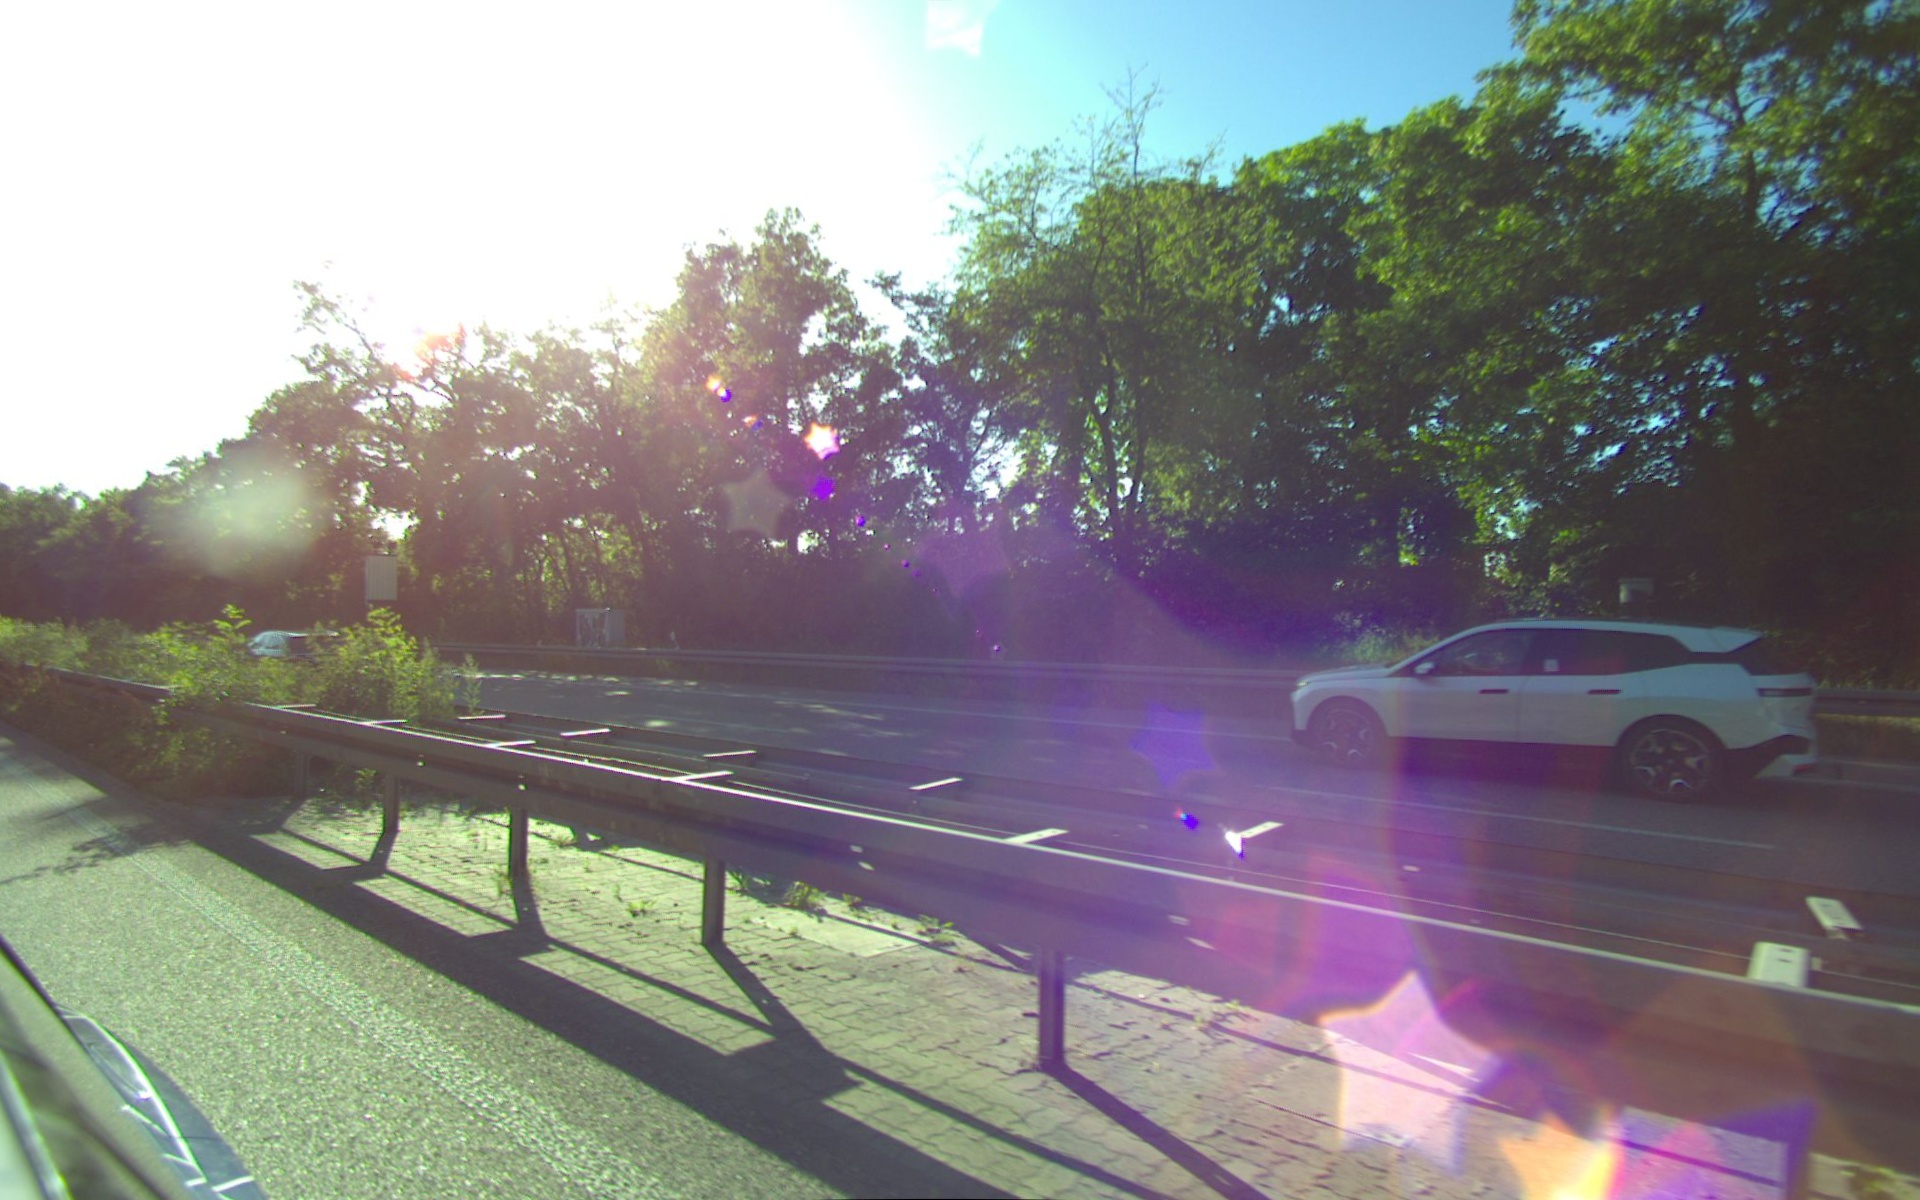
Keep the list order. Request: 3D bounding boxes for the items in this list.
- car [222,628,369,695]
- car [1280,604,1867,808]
[{"bbox_3d":[-16.656,1.471,25.271,4.782,1.500,1.832,-1,-2,41],"label":"car"},{"bbox_3d":[6.220,0.924,10.750,5.039,1.672,1.940,-1,-2,42],"label":"car"}]
